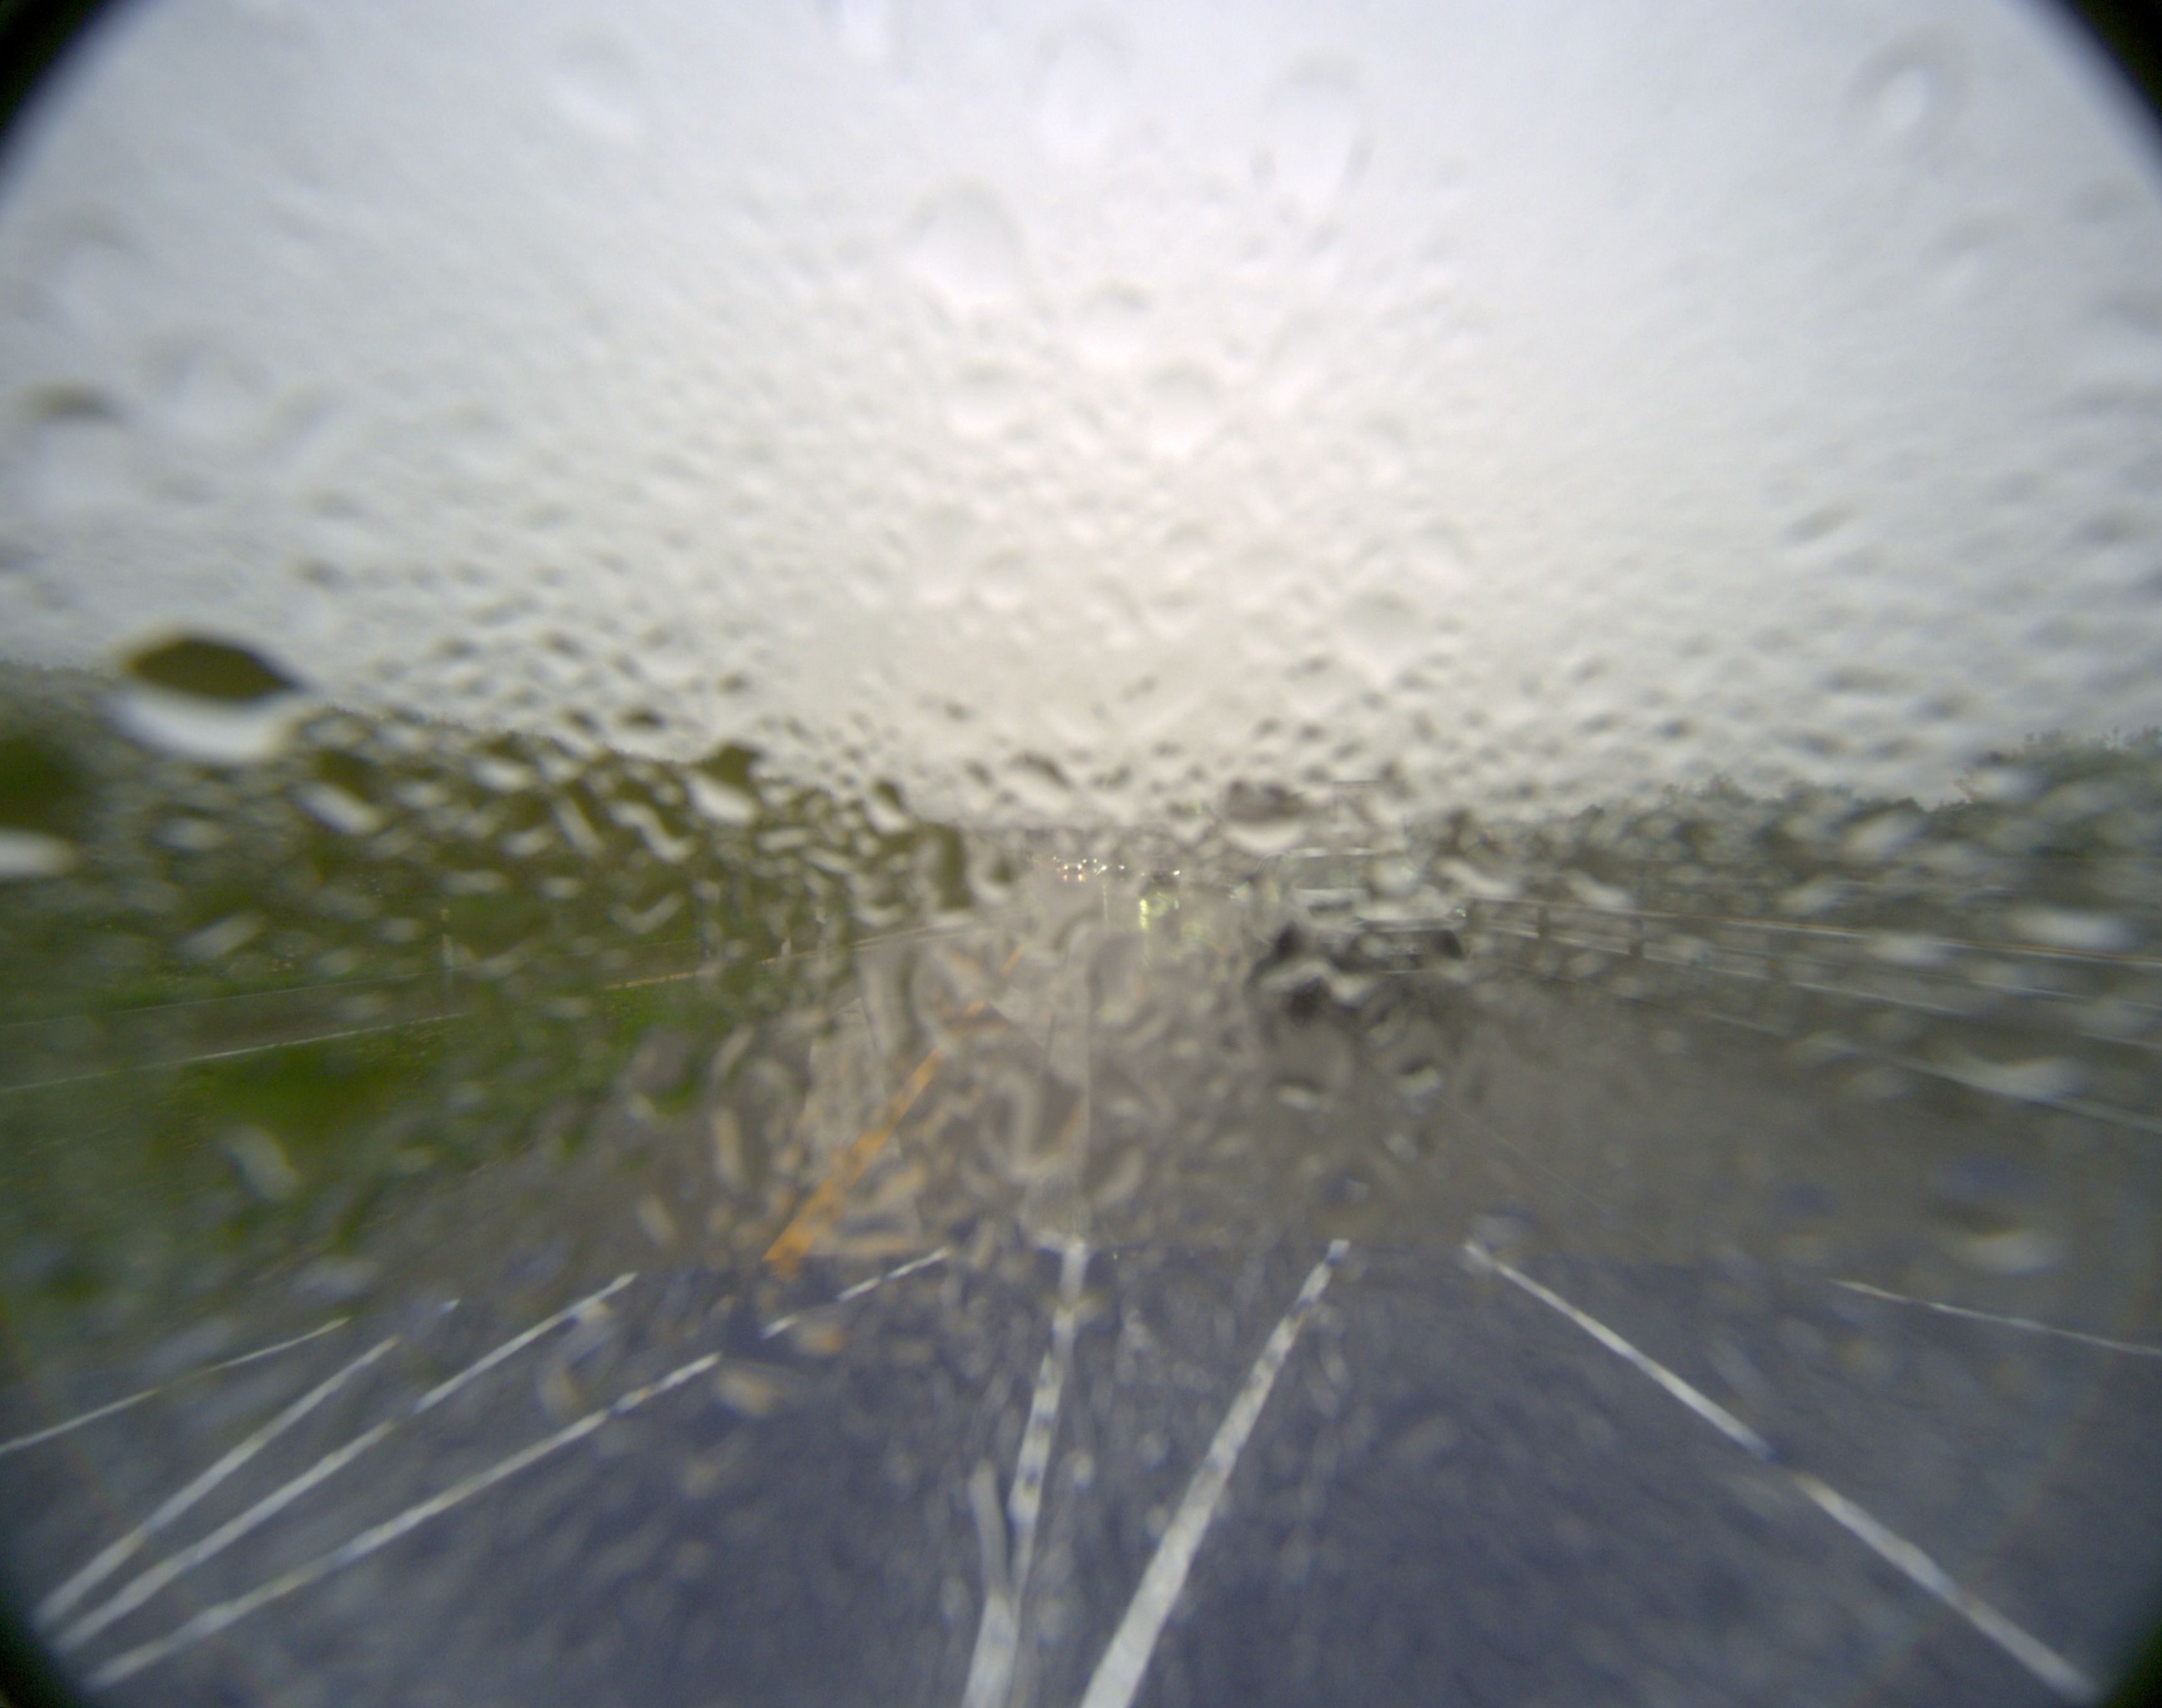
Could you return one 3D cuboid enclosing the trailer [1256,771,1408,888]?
[{"bbox_3d":[10.183,-0.880,32.604,2.619,3.984,11.927,-3,0,1],"label":"trailer"}]

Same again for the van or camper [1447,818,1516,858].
[{"bbox_3d":[46.877,-1.836,89.234,3.375,4.299,8.505,-3,0,0],"label":"van or camper"}]

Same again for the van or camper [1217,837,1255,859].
[{"bbox_3d":[25.666,-0.971,125.732,5.421,3.325,3.377,-3,1,-2],"label":"van or camper"}]

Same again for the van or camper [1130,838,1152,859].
[{"bbox_3d":[8.572,-0.765,108.926,2.491,2.901,6.222,-3,0,0],"label":"van or camper"}]

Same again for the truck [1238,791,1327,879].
[{"bbox_3d":[10.308,-0.942,39.610,2.649,4.024,7.285,-3,1,1],"label":"truck"}]

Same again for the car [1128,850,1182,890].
[{"bbox_3d":[3.333,0.673,35.013,2.069,1.618,5.196,-2,0,2],"label":"car"}]

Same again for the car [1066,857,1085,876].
[{"bbox_3d":[-0.512,1.286,78.370,1.881,1.772,4.000,-1,1,1],"label":"car"}]

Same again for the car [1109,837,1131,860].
[{"bbox_3d":[6.924,-1.001,135.610,3.305,3.718,9.399,-3,0,0],"label":"car"}]

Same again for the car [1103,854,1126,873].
[{"bbox_3d":[2.811,0.767,64.540,1.792,1.480,4.000,-3,0,1],"label":"car"}]

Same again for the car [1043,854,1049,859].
[{"bbox_3d":[-11.419,0.800,247.883,1.673,1.804,4.000,-1,0,0],"label":"car"}]

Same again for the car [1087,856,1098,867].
[{"bbox_3d":[1.649,1.060,108.543,1.589,1.528,3.831,-1,0,1],"label":"car"}]

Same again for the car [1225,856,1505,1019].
[{"bbox_3d":[3.274,0.829,9.999,1.932,1.542,5.007,-1,0,2],"label":"car"}]
